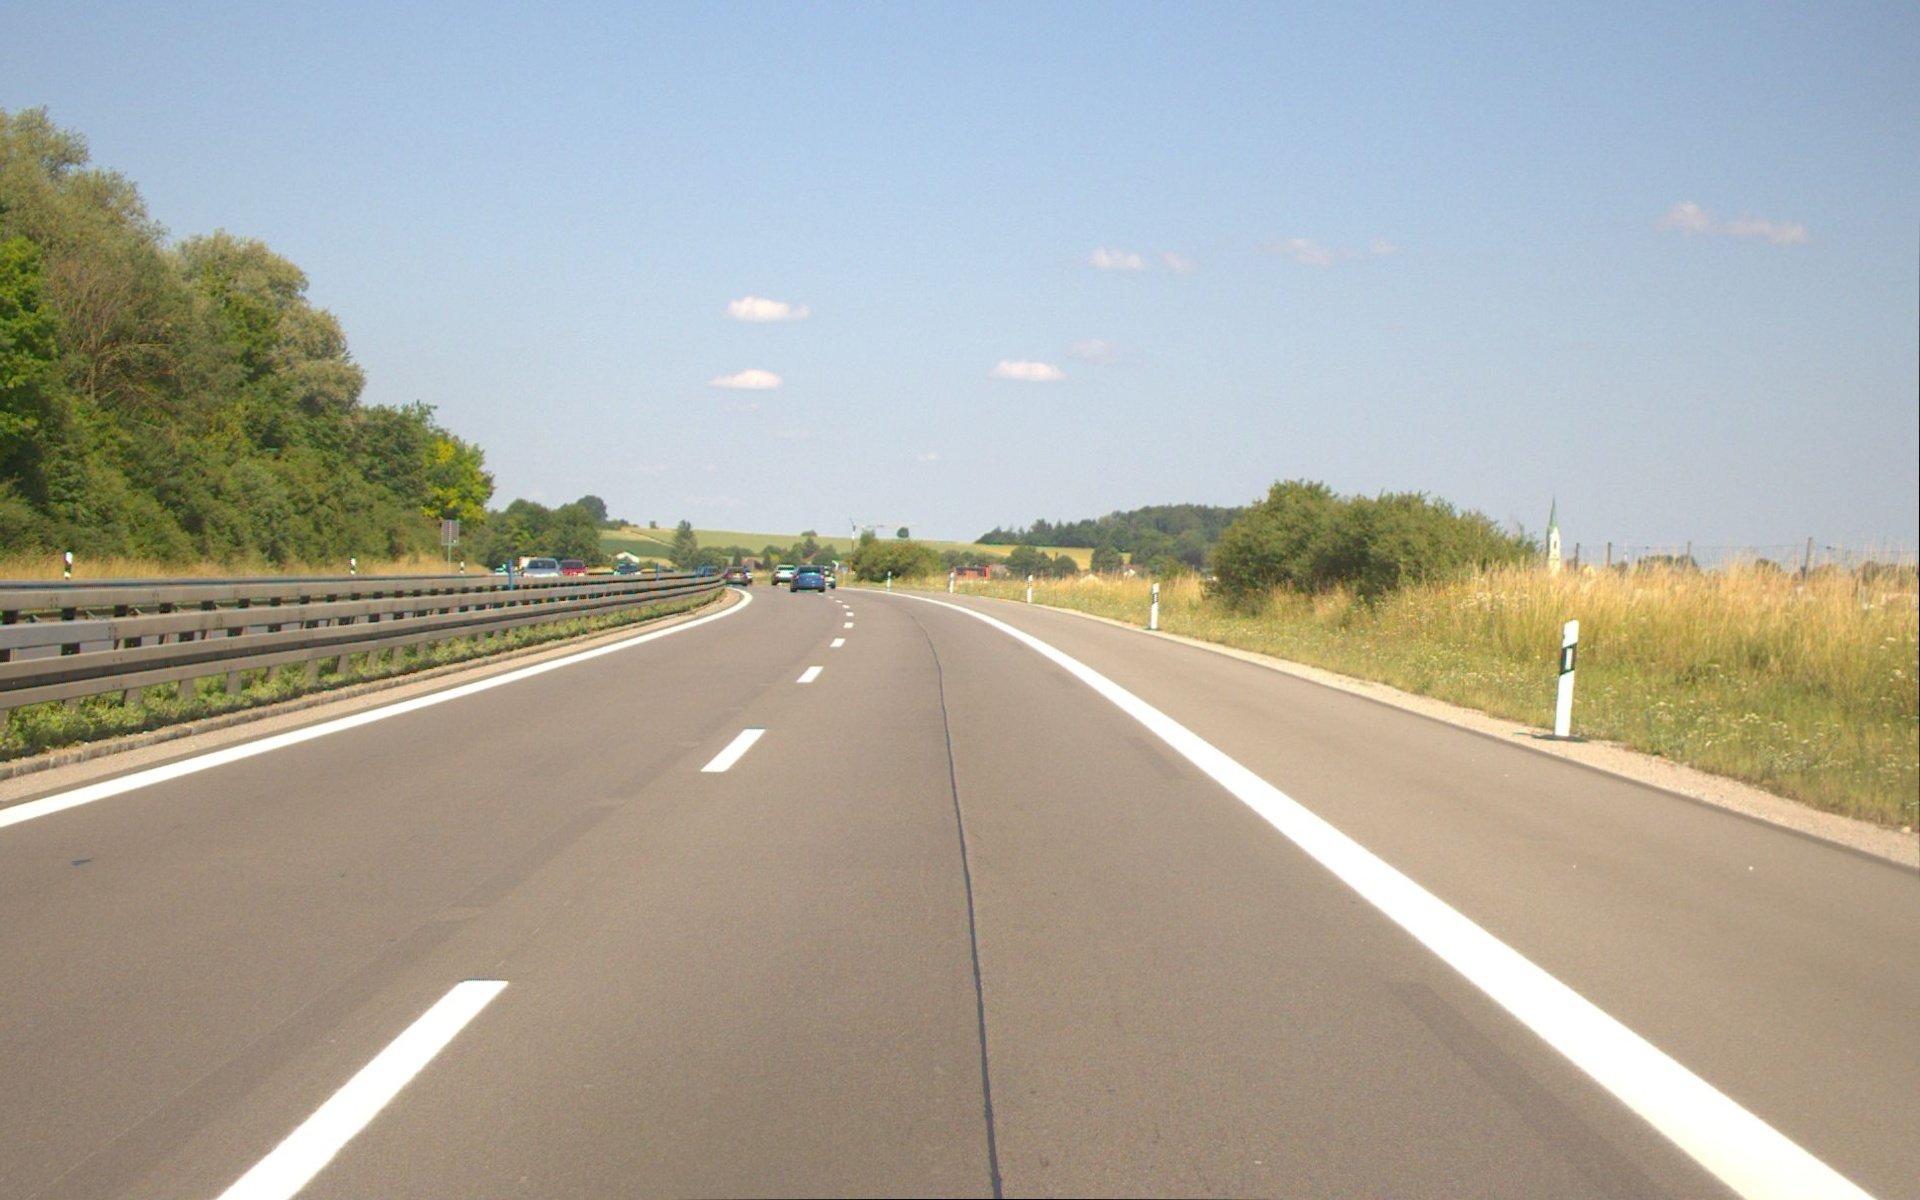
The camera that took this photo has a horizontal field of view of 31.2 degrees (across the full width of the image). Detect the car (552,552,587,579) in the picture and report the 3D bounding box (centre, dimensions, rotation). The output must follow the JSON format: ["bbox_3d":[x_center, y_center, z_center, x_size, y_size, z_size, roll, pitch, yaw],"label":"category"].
[{"bbox_3d":[-22.530,-1.994,198.553,1.649,1.488,4.540,1,1,-2],"label":"car"}]

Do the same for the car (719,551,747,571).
[{"bbox_3d":[-16.910,-2.876,256.168,1.829,1.448,3.592,1,0,1],"label":"car"}]

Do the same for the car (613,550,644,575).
[{"bbox_3d":[-20.491,-2.341,212.806,1.649,1.488,4.540,1,1,-2],"label":"car"}]

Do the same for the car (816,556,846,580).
[{"bbox_3d":[-8.192,-2.014,218.082,1.675,1.448,3.592,1,0,-6],"label":"car"}]

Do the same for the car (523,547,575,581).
[{"bbox_3d":[-19.672,-1.723,164.713,1.993,1.607,4.637,1,1,-1],"label":"car"}]

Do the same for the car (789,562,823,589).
[{"bbox_3d":[-8.320,-1.332,185.699,1.676,1.448,3.592,1,0,-1],"label":"car"}]
